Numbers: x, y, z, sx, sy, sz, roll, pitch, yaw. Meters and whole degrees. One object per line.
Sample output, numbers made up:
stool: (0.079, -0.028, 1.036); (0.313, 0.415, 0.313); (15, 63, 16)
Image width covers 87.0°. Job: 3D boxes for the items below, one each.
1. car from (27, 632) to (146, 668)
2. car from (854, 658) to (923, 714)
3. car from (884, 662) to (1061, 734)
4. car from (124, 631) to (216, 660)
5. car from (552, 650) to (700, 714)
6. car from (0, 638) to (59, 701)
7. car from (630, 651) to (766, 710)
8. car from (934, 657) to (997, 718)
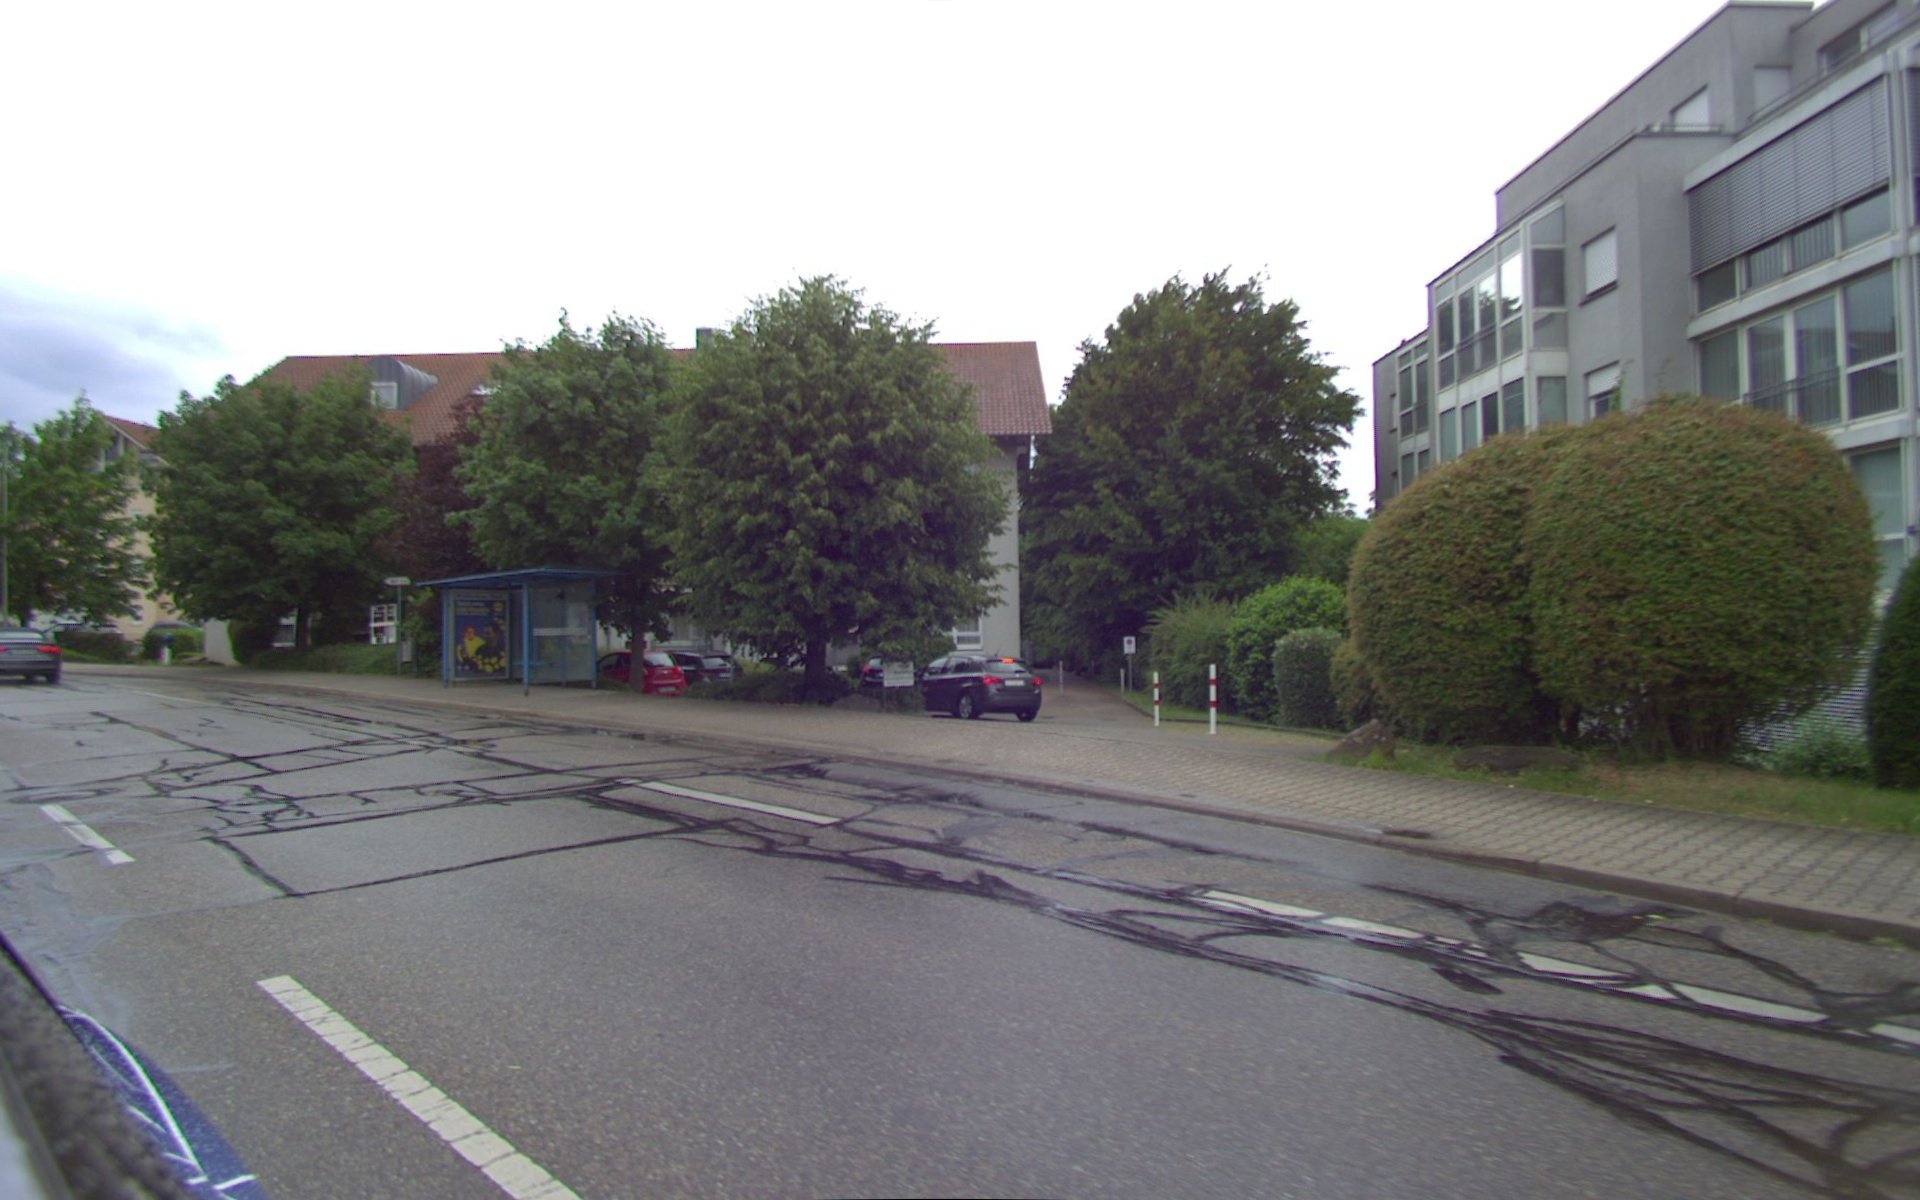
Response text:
car: (-40.027, 2.273, 46.419); (3.944, 1.614, 1.738); (0, -2, 0)
car: (-2.066, 2.487, 29.964); (1.648, 1.405, 3.428); (-1, -1, 3)
car: (0.184, 2.159, 22.654); (1.966, 1.432, 4.177); (4, -6, -32)
car: (-39.247, 2.253, 50.331); (3.391, 1.392, 1.516); (0, -2, 0)
car: (-8.975, 2.145, 27.074); (3.991, 1.475, 1.753); (-1, -1, 36)
car: (-24.271, 1.722, 25.668); (3.998, 1.454, 1.656); (-1, -1, 41)
car: (-7.527, 2.250, 28.963); (3.991, 1.475, 1.596); (-1, -1, 36)
car: (0.097, 2.401, 28.411); (1.646, 1.443, 3.717); (-1, -1, -1)
